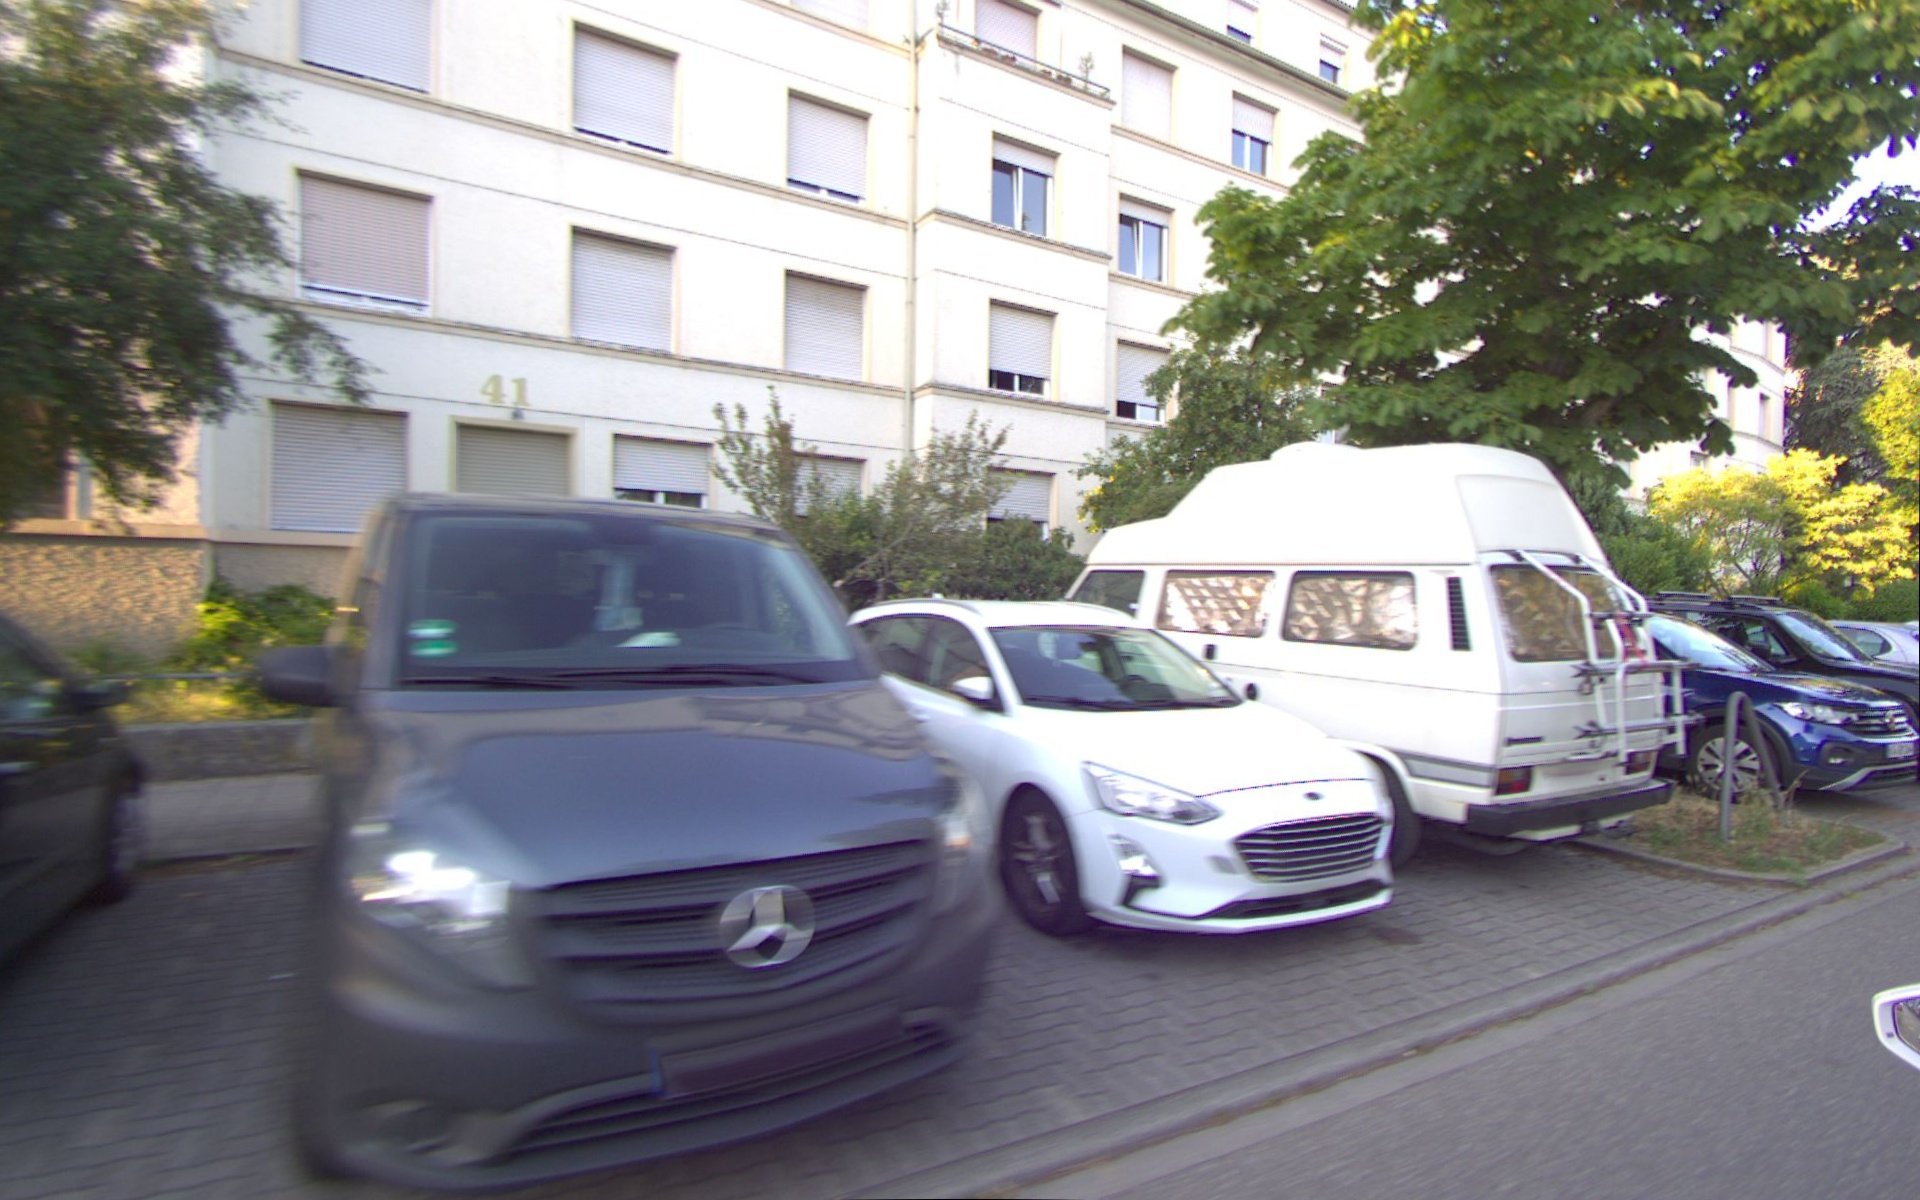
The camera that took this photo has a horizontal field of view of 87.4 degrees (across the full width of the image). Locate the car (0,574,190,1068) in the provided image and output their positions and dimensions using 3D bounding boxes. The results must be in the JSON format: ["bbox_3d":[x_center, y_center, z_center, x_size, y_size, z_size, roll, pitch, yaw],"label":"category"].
[{"bbox_3d":[-4.066,0.641,3.492,1.635,1.458,3.752,1,1,-29],"label":"car"}]

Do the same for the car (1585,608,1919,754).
[{"bbox_3d":[10.532,0.923,12.828,1.772,1.544,3.961,1,1,-35],"label":"car"}]

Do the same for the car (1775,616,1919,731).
[{"bbox_3d":[15.101,1.119,14.881,1.882,1.636,4.375,1,1,-36],"label":"car"}]

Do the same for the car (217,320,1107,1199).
[{"bbox_3d":[-1.619,0.439,4.288,1.977,1.899,4.650,1,1,-30],"label":"car"}]

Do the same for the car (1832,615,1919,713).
[{"bbox_3d":[17.187,1.097,16.558,1.784,1.599,3.959,1,1,-36],"label":"car"}]

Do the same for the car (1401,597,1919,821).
[{"bbox_3d":[6.439,0.810,9.536,1.764,1.616,3.843,1,1,-29],"label":"car"}]

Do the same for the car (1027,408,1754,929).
[{"bbox_3d":[2.561,0.306,7.196,1.976,2.463,4.480,1,1,-30],"label":"car"}]

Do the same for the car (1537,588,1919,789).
[{"bbox_3d":[8.684,0.792,10.862,1.821,1.801,3.843,1,1,-29],"label":"car"}]

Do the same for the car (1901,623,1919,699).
[{"bbox_3d":[20.743,1.257,18.449,1.861,1.490,4.745,2,0,-32],"label":"car"}]

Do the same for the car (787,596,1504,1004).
[{"bbox_3d":[0.635,0.734,5.970,1.976,1.444,4.155,1,1,-30],"label":"car"}]

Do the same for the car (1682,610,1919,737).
[{"bbox_3d":[12.887,0.990,14.244,1.714,1.604,3.961,1,1,-35],"label":"car"}]
